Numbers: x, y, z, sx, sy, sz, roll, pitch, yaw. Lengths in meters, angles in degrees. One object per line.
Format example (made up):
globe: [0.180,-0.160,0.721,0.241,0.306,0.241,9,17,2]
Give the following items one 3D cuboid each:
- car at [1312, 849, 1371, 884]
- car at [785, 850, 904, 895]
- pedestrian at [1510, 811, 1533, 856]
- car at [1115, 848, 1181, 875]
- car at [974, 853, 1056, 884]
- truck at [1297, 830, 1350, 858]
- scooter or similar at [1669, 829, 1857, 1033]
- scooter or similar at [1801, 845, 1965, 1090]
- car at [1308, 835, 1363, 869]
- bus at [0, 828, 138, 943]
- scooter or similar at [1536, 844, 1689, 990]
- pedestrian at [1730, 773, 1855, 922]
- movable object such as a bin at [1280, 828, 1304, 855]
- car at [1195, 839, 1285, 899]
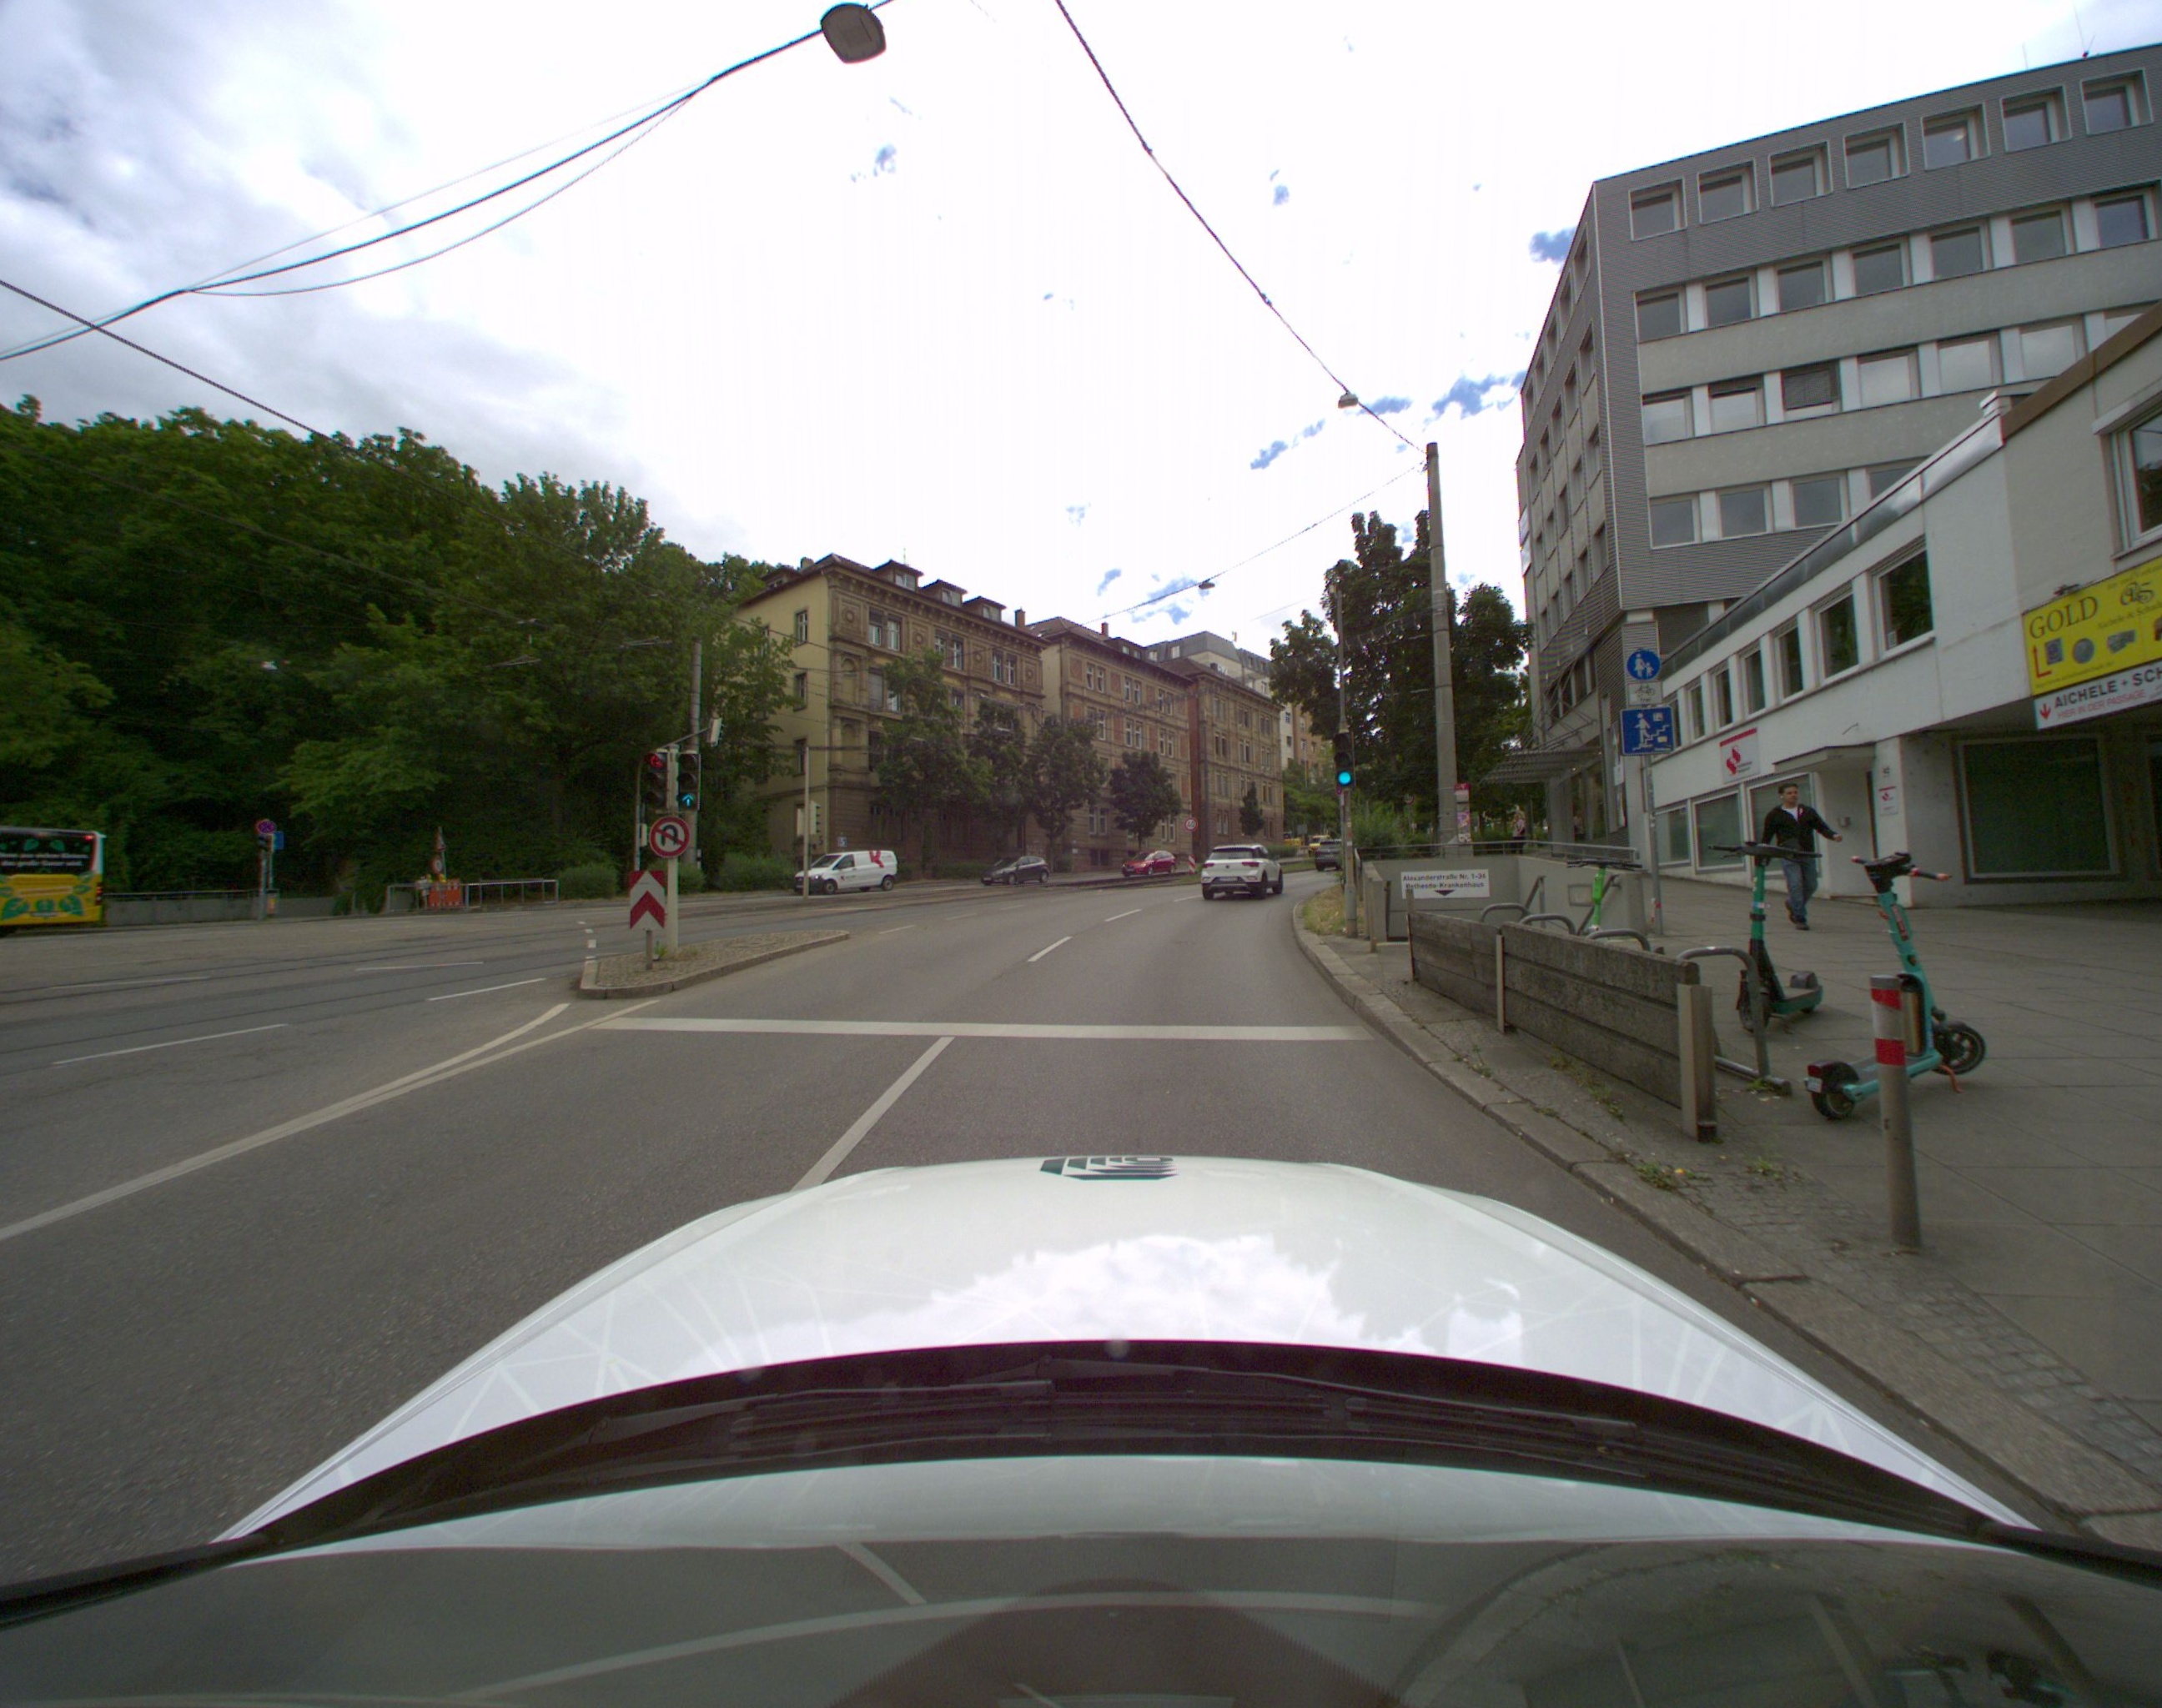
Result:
car: [12.569,0.598,39.168,1.884,1.574,3.858,0,-1,30]
car: [-10.661,0.770,37.056,1.974,1.849,5.025,-1,0,37]
pedestrian: [17.978,-0.823,33.237,0.668,1.794,0.611,-2,0,17]
car: [4.059,0.447,48.831,1.974,1.519,4.434,-1,-1,35]
car: [-3.368,0.729,42.362,1.725,1.427,4.434,-2,0,37]
truck: [26.149,-1.076,87.517,2.891,2.508,7.199,9,5,37]
scooter or similar: [4.866,0.484,5.788,1.450,1.254,0.551,-3,1,-31]
scooter or similar: [4.358,0.554,4.413,1.014,1.182,0.373,-1,0,-31]
car: [13.603,-0.087,43.347,1.821,1.740,4.025,-1,-1,32]
bus: [-34.161,0.986,23.209,11.454,3.029,3.395,-2,0,5]
scooter or similar: [4.904,0.531,7.500,1.450,1.182,0.577,-3,1,-31]
pedestrian: [9.188,-0.075,10.578,0.826,1.810,1.157,-3,-1,23]
movable object such as a bin: [23.666,-1.370,91.201,1.974,2.838,2.042,-3,-1,32]
car: [4.826,0.420,24.299,1.922,1.566,4.066,-3,-1,20]
